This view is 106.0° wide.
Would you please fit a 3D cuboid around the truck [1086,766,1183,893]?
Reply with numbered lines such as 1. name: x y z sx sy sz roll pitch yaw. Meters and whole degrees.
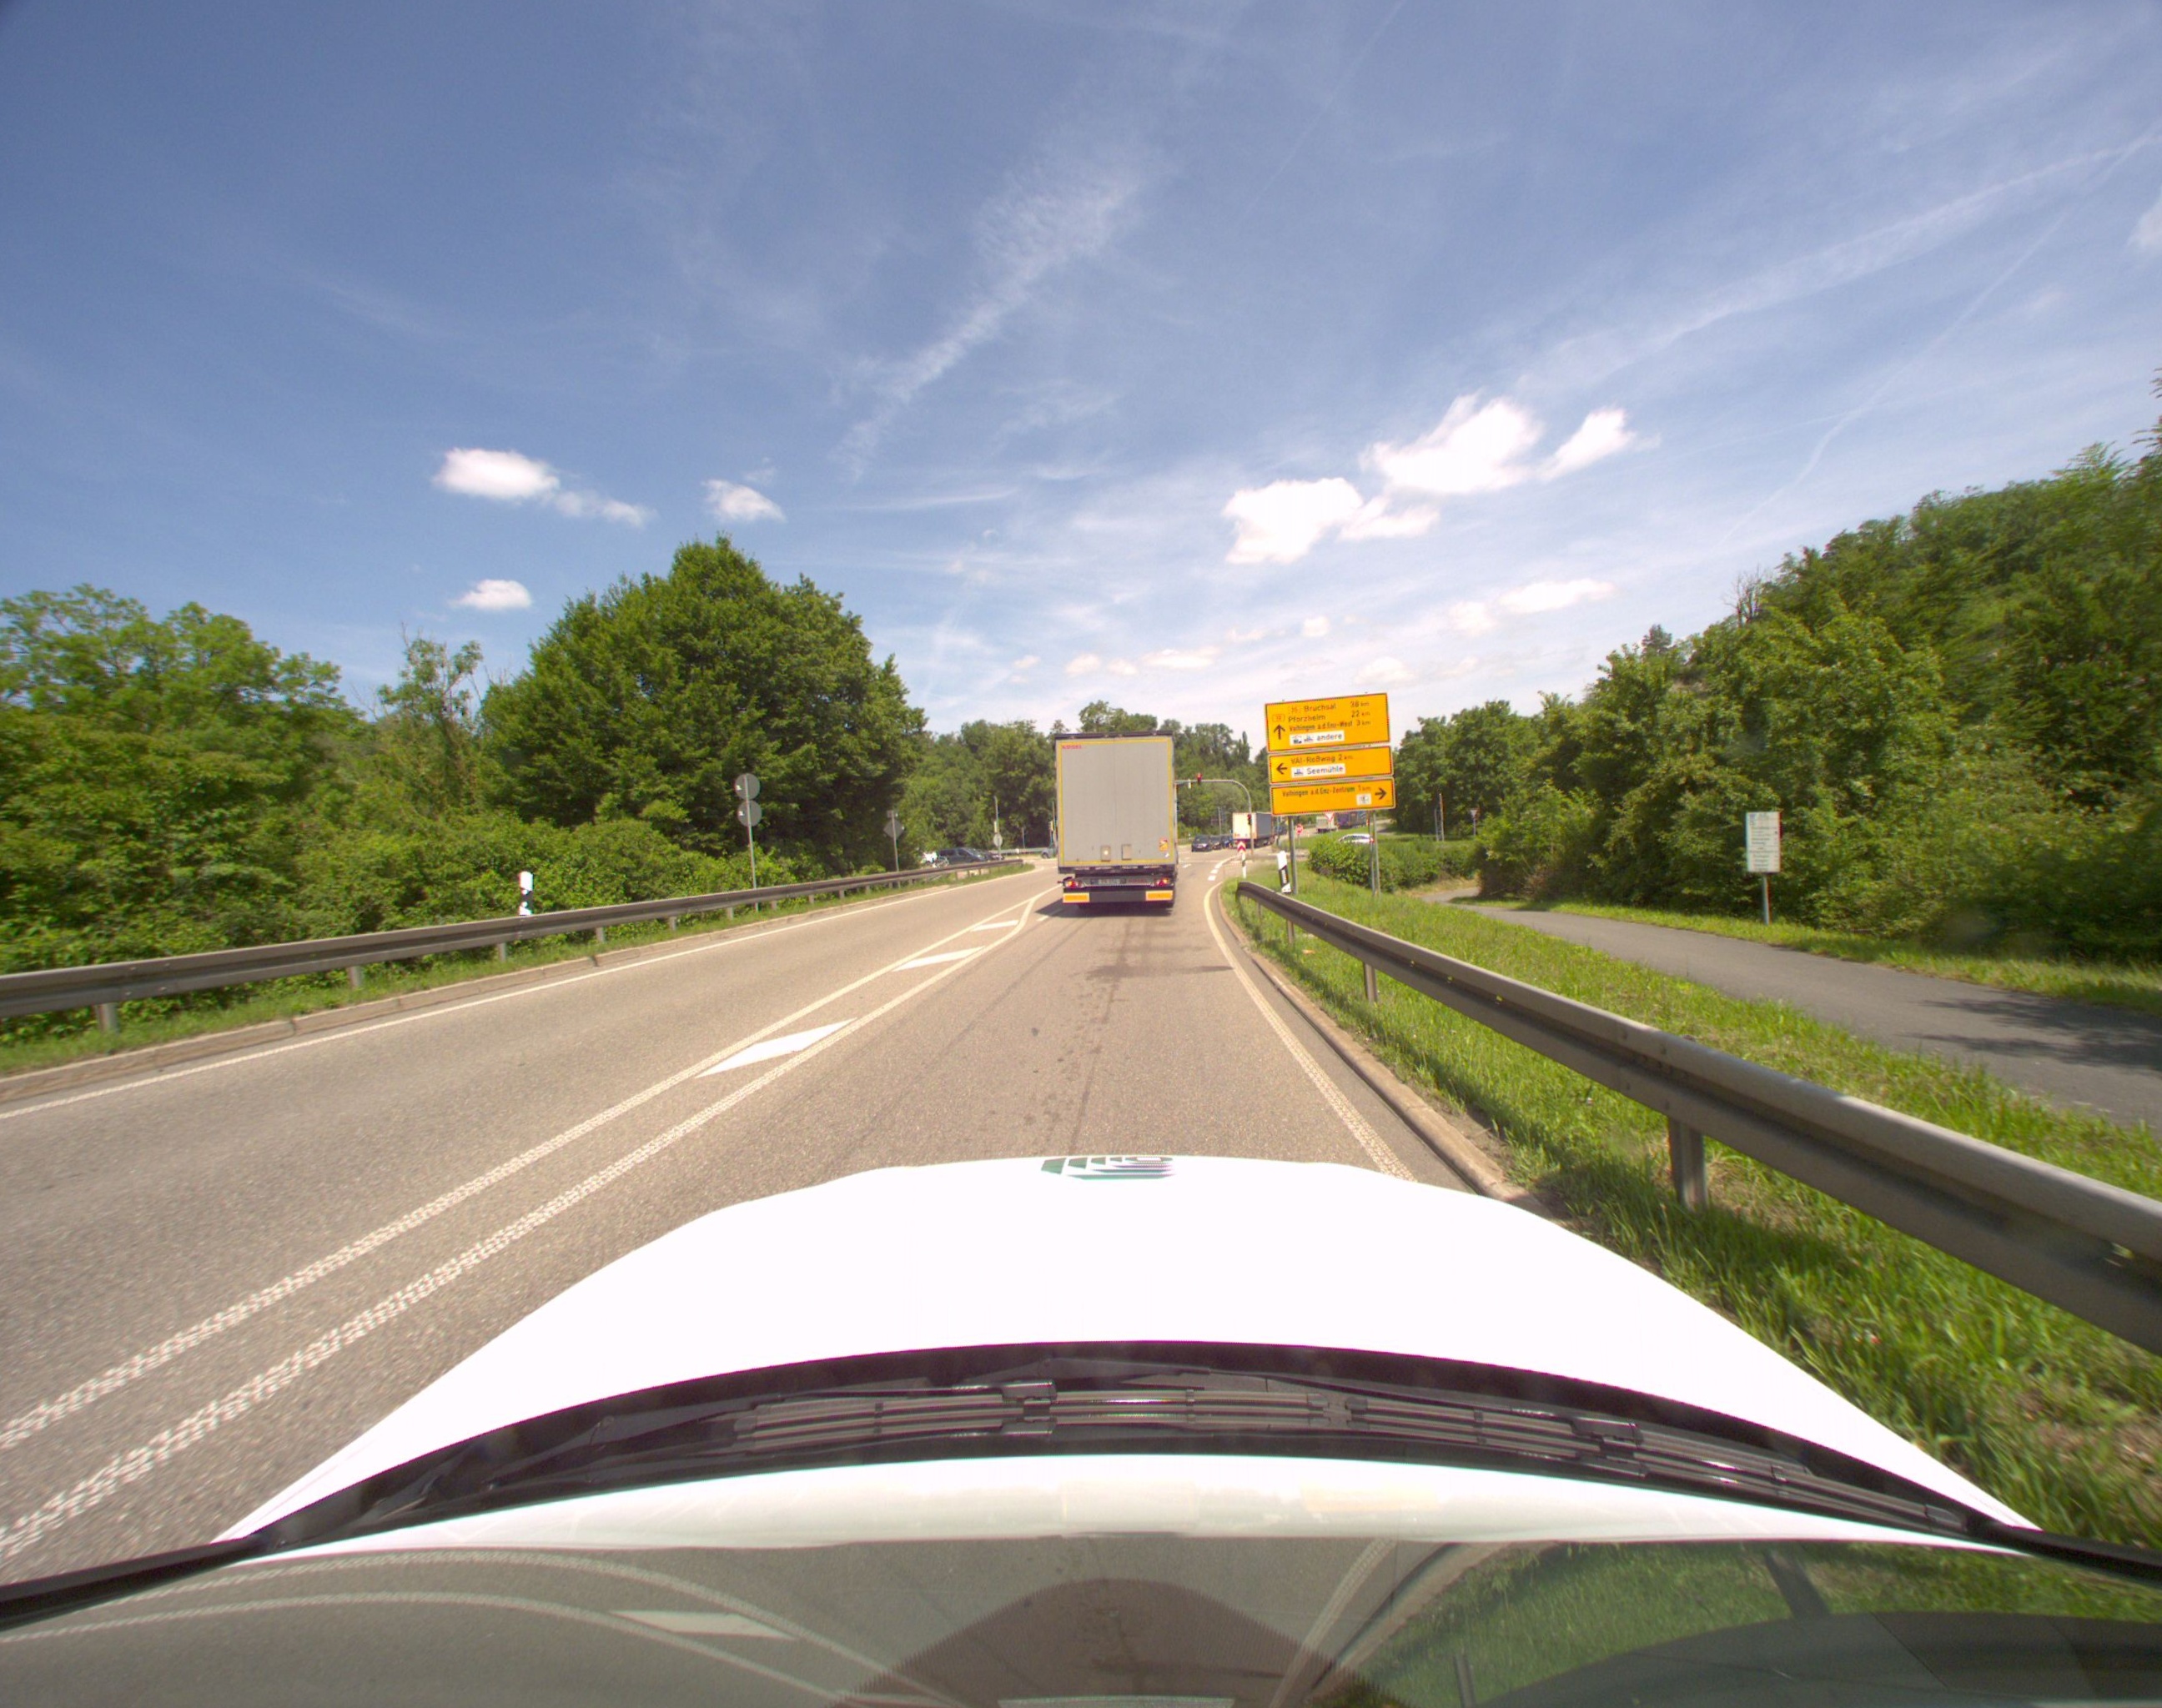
1. truck: 2.078 -0.828 29.692 3.023 4.033 6.641 -1 0 6

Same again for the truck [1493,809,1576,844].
1. truck: 38.045 -2.248 68.415 5.954 2.728 2.517 -1 -1 28

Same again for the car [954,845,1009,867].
1. car: -8.636 0.158 70.495 4.199 1.770 2.010 -1 0 18

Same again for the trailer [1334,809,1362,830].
1. trailer: 51.816 -6.638 157.862 3.220 3.685 9.309 -1 1 30

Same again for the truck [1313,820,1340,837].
1. truck: 43.304 -4.497 143.535 2.828 2.947 7.150 -1 1 30

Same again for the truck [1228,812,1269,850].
1. truck: 19.415 -2.631 93.752 3.154 4.028 11.801 -1 1 18

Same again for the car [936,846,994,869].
1. car: -9.434 0.274 66.426 4.199 1.770 2.010 -1 0 18

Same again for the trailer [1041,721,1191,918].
1. trailer: 1.382 -0.755 23.263 3.036 4.033 12.580 -1 0 6

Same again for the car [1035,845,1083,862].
1. car: -1.991 -0.058 74.383 3.953 1.519 2.010 -1 -1 21

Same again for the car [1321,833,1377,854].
1. car: 22.872 -0.881 69.537 4.396 1.718 2.007 0 -1 13

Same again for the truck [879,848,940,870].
1. truck: -14.817 0.434 70.472 4.866 1.791 2.041 0 -1 -4

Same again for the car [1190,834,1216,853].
1. car: 12.595 -1.055 83.680 1.978 1.785 4.962 -2 -1 16

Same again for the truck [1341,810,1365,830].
1. truck: 53.965 -6.745 161.500 3.220 3.685 6.284 -1 1 30

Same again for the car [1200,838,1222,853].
1. car: 14.506 -0.950 90.491 1.979 1.491 4.274 0 -1 15
